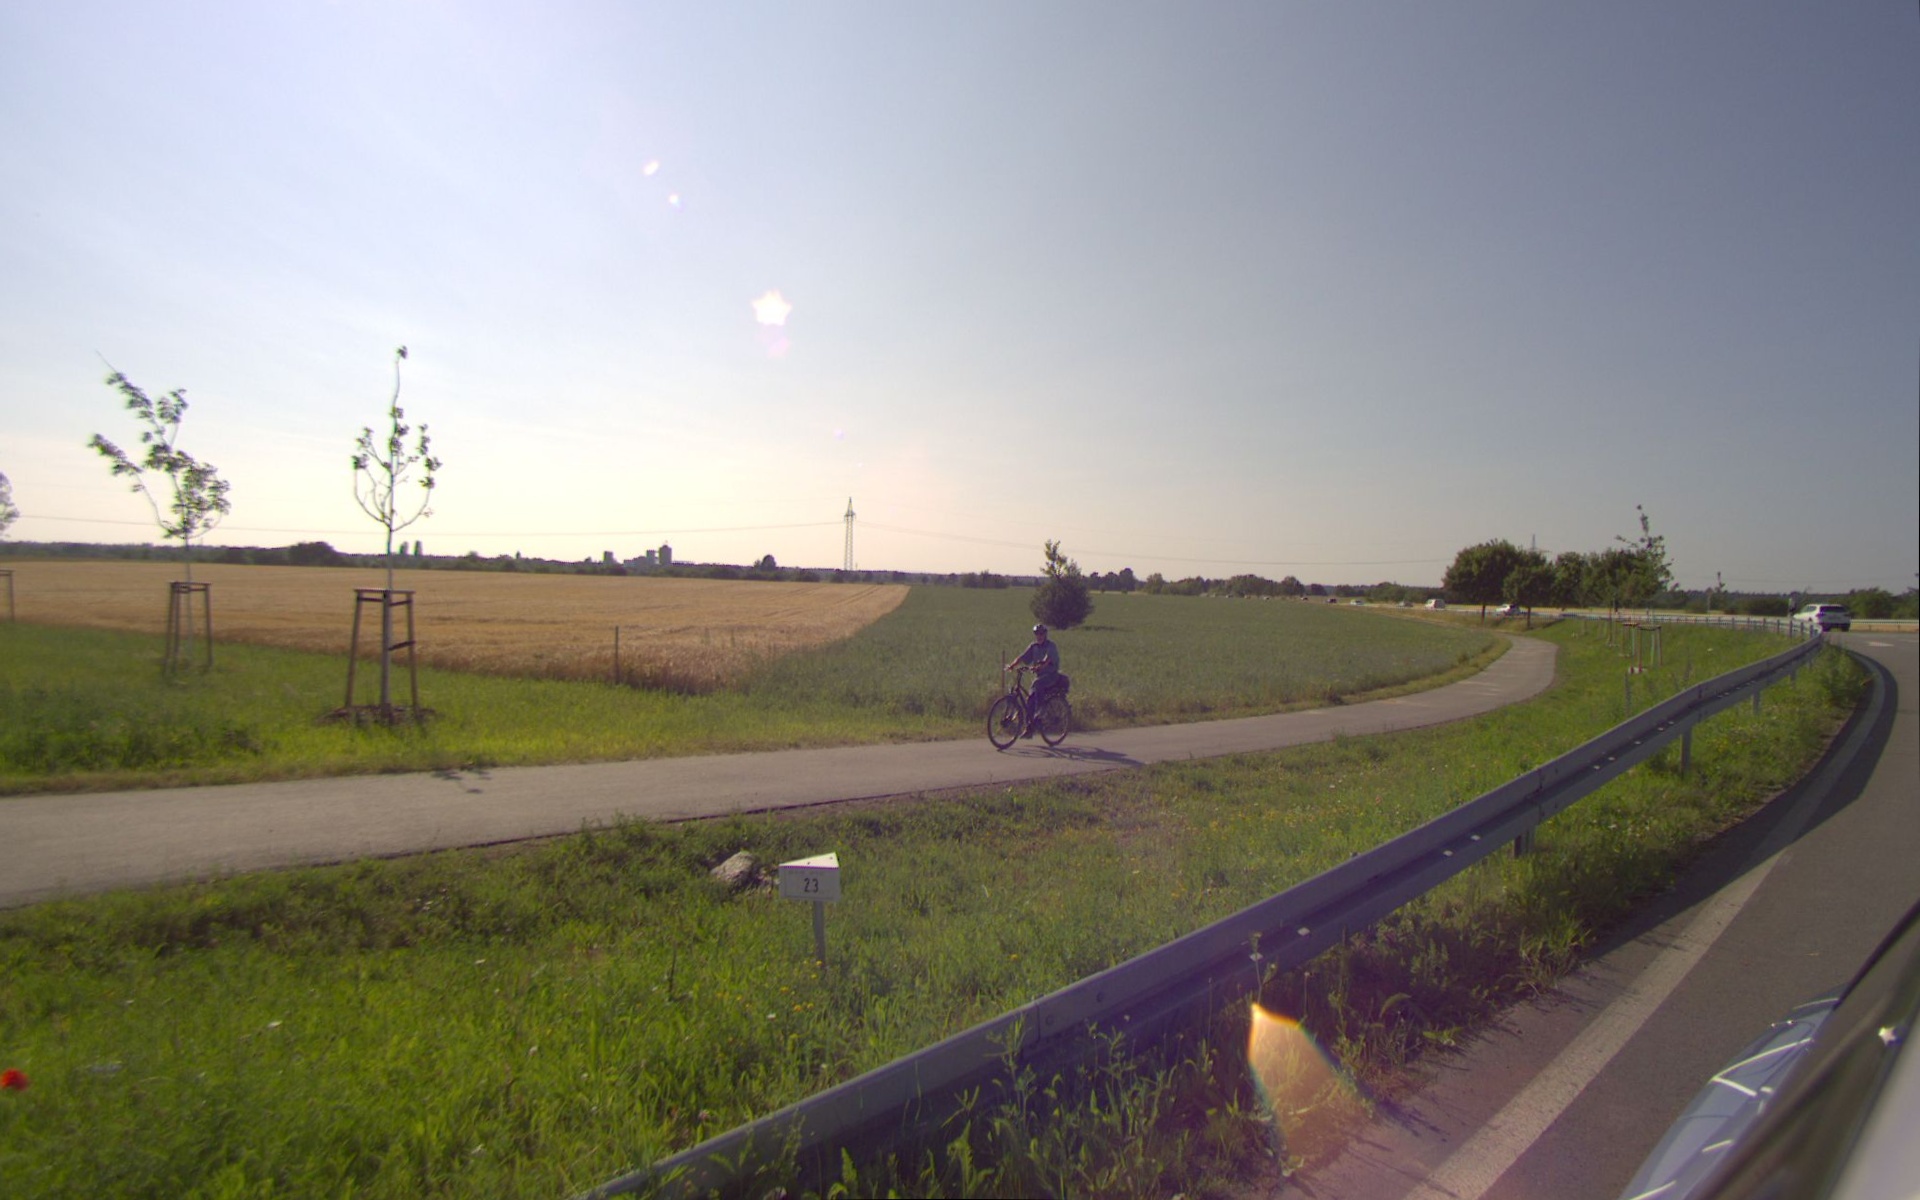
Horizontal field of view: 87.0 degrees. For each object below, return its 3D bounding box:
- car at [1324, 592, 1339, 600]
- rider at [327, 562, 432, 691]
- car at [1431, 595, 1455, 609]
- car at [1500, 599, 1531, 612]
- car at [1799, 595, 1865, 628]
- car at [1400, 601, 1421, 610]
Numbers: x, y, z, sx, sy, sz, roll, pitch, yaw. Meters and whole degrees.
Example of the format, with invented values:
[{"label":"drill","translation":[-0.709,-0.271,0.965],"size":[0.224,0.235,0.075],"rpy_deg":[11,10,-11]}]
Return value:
[{"label":"car","translation":[85.361,-0.798,232.561],"size":[1.965,1.613,4.854],"rpy_deg":[1,-2,5]},{"label":"rider","translation":[-7.931,0.345,13.864],"size":[0.806,1.663,0.991],"rpy_deg":[2,0,1]},{"label":"car","translation":[77.959,0.357,163.284],"size":[2.087,2.040,5.137],"rpy_deg":[1,-2,9]},{"label":"car","translation":[73.277,0.727,133.627],"size":[2.088,1.512,5.134],"rpy_deg":[1,-2,10]},{"label":"car","translation":[53.168,0.665,61.808],"size":[1.678,1.693,4.827],"rpy_deg":[0,3,23]},{"label":"car","translation":[79.159,0.937,177.916],"size":[1.768,1.467,4.699],"rpy_deg":[1,-2,3]}]
